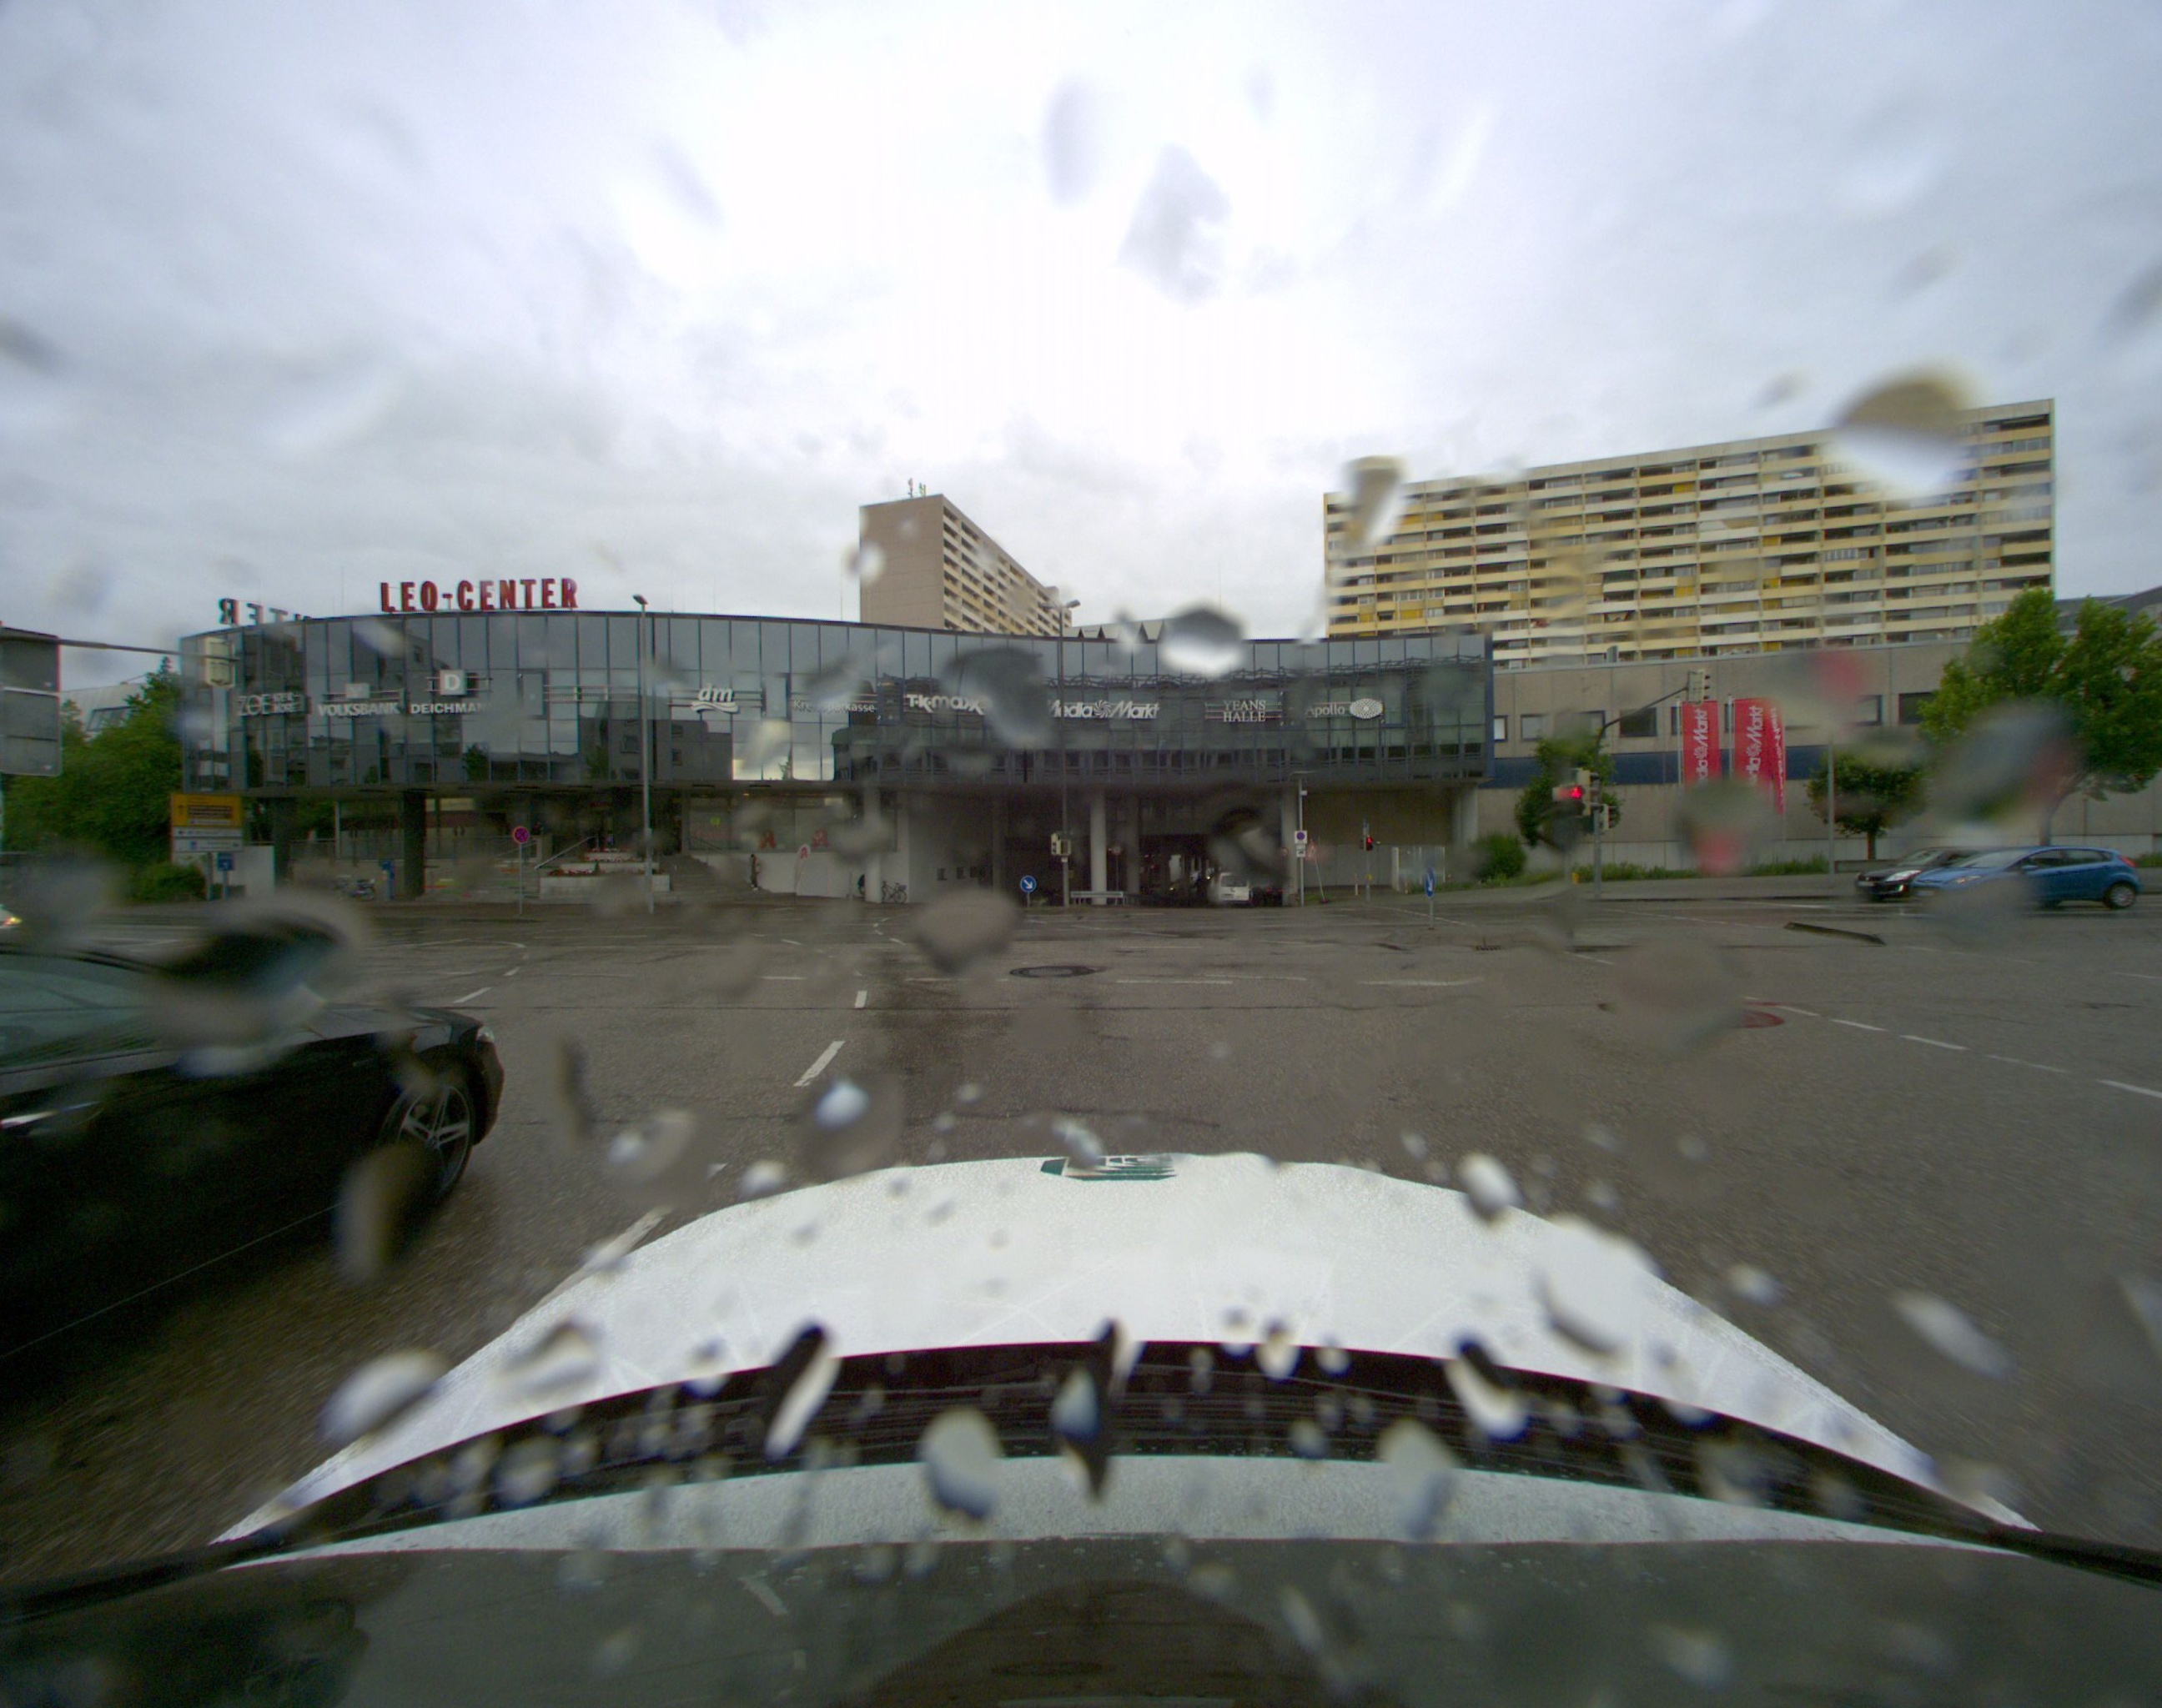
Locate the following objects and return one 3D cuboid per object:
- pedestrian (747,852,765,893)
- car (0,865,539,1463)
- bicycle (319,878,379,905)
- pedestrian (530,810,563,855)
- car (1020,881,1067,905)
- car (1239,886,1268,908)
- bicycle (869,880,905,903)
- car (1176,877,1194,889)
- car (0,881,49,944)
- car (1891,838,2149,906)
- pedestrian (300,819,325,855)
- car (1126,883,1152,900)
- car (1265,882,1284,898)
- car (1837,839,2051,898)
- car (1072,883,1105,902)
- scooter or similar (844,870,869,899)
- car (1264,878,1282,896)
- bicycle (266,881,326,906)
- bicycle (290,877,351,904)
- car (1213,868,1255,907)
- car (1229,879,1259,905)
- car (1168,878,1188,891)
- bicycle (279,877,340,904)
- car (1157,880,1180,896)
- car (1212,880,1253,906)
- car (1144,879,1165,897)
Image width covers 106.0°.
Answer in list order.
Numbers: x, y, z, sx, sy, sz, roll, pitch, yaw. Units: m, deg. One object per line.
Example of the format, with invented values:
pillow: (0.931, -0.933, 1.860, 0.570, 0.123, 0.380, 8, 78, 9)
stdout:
pedestrian: (-15.472, 0.871, 38.756, 0.655, 1.908, 0.593, 0, 0, -9)
car: (-3.591, 0.806, 2.165, 1.659, 1.481, 4.090, 1, 0, -3)
bicycle: (-32.462, 1.638, 36.135, 0.625, 1.023, 1.864, -1, 2, 18)
pedestrian: (-24.683, -0.987, 37.622, 0.824, 2.014, 0.956, 1, 0, 14)
car: (-2.454, 2.613, 54.309, 1.878, 1.470, 4.042, -1, -4, 16)
car: (12.306, 3.020, 57.973, 1.766, 1.400, 4.015, -2, -2, 15)
bicycle: (-9.588, 1.853, 40.179, 1.592, 1.018, 0.447, 6, -3, -32)
car: (13.642, 3.810, 106.756, 1.980, 1.464, 4.013, -2, -1, 12)
car: (-27.140, 1.401, 19.314, 3.952, 1.441, 1.753, 0, 0, 13)
car: (21.978, 0.416, 19.208, 3.822, 1.397, 1.683, -2, -1, 7)
pedestrian: (-37.750, -0.825, 40.005, 0.593, 1.713, 0.658, 1, 0, 22)
car: (5.946, 3.787, 83.268, 1.900, 1.588, 3.954, -2, -1, 15)
car: (19.734, 3.681, 83.214, 1.875, 1.491, 3.854, 1, 0, 13)
car: (23.295, 0.388, 22.123, 3.663, 1.394, 1.748, -2, -1, 8)
car: (0.661, 3.118, 66.289, 1.757, 1.464, 3.890, -2, -3, 15)
scooter or similar: (-10.971, 1.477, 39.802, 1.168, 1.373, 0.486, 1, 0, -16)
car: (20.733, 3.515, 87.830, 1.828, 1.777, 3.604, 1, 0, 13)
bicycle: (-35.494, 1.784, 36.836, 0.530, 0.951, 1.865, 0, 3, 21)
bicycle: (-34.074, 1.622, 36.535, 0.640, 1.042, 1.864, -1, 2, 18)
car: (7.606, 1.647, 40.673, 1.914, 1.798, 4.308, -1, -2, 10)
car: (10.635, 2.475, 52.970, 1.621, 1.612, 4.278, -2, -3, 15)
car: (12.138, 3.780, 101.705, 1.979, 1.464, 4.016, -2, -1, 15)
bicycle: (-34.796, 1.617, 36.745, 0.622, 1.033, 1.864, -1, 2, 18)
car: (10.123, 3.880, 93.948, 1.979, 1.663, 4.016, 1, 0, 15)
car: (9.032, 2.327, 48.379, 1.743, 1.464, 3.962, -2, -4, 20)
car: (7.964, 3.679, 88.124, 1.824, 1.727, 4.012, -1, -1, 11)
